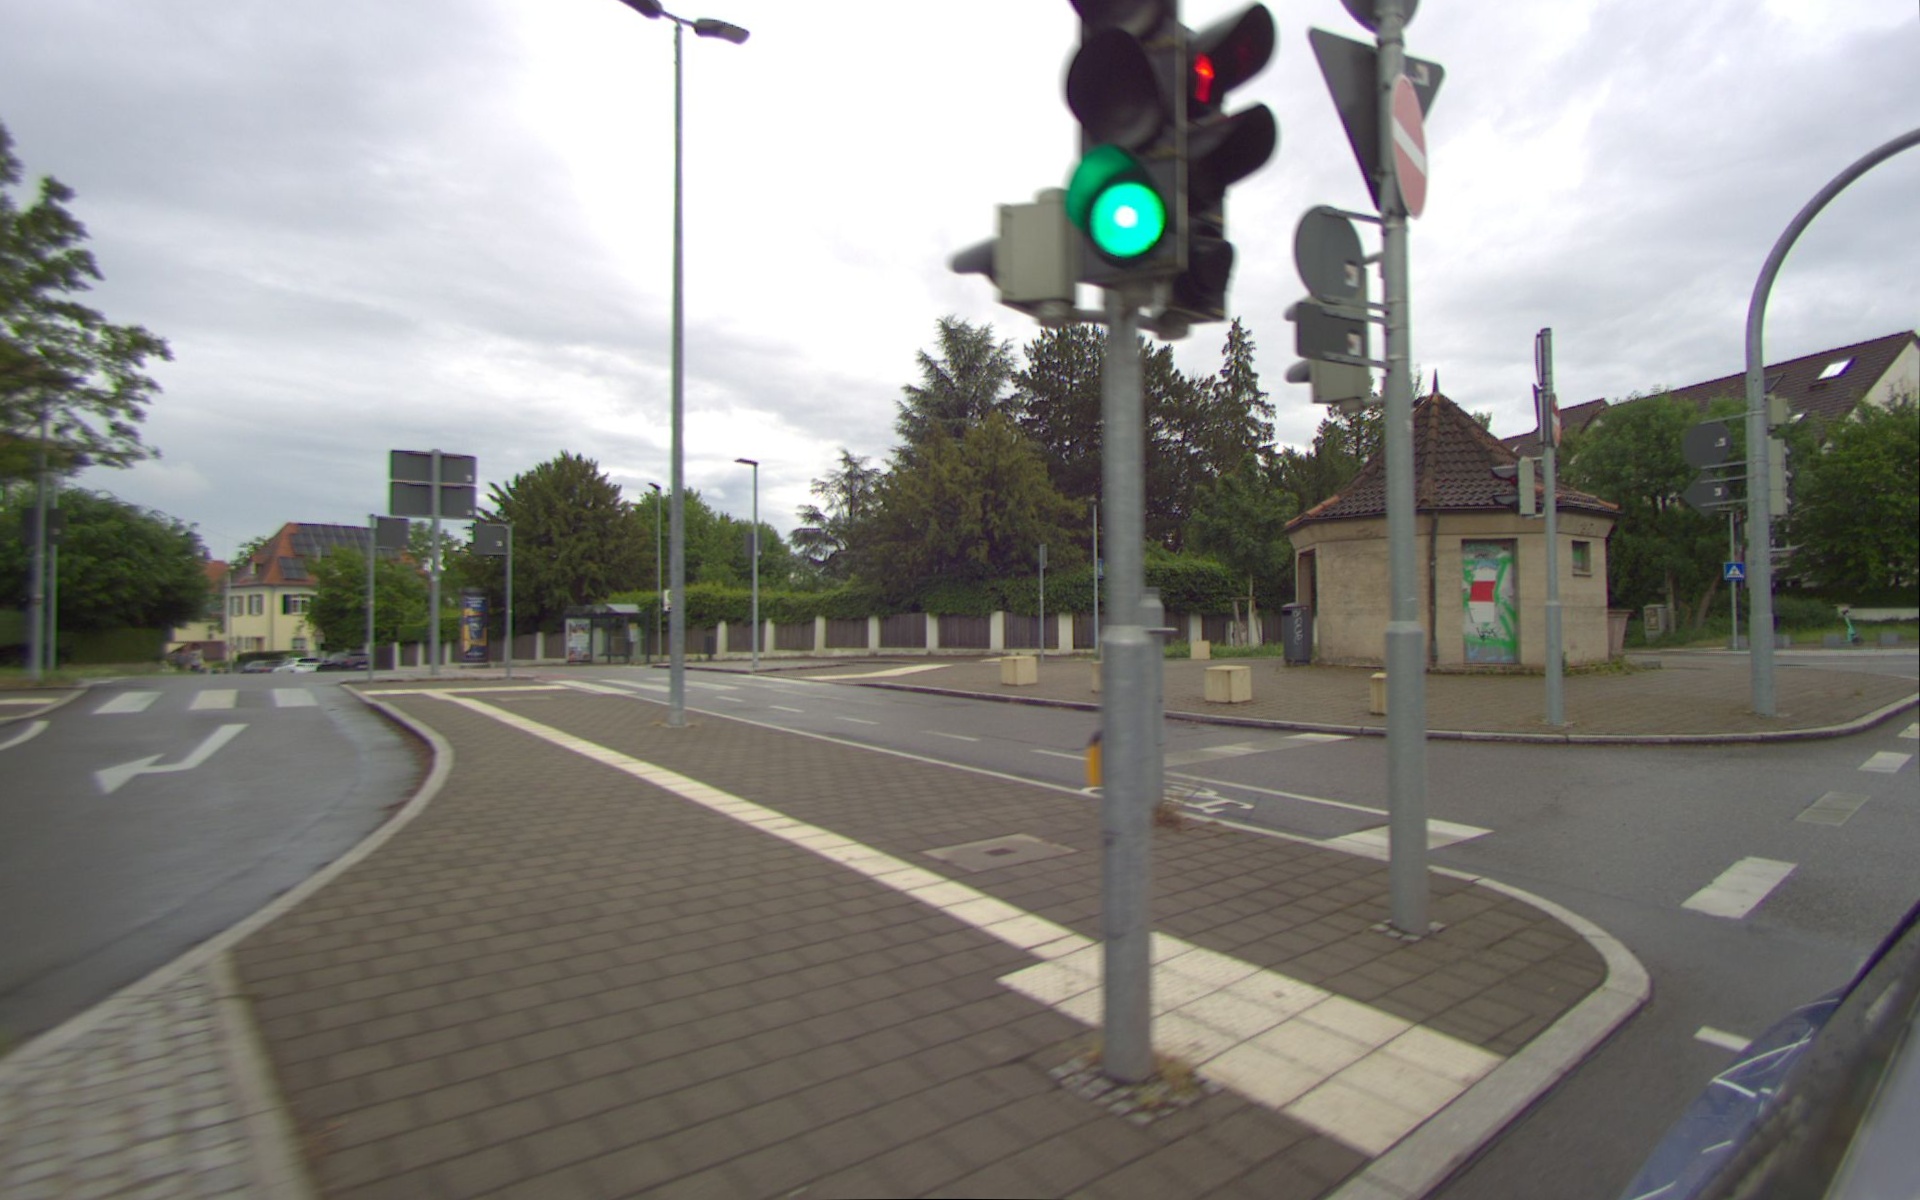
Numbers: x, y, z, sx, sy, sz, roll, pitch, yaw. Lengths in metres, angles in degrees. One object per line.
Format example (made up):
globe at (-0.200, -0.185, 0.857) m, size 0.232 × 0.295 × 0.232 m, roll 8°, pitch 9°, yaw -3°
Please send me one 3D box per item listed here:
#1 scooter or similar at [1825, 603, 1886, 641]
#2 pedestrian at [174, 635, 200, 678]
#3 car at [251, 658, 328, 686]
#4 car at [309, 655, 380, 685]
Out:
scooter or similar at (30.473, 0.756, 34.460) m, size 0.514 × 1.223 × 1.354 m, roll -1°, pitch -4°, yaw -26°
pedestrian at (-34.067, 2.497, 44.606) m, size 0.692 × 1.861 × 0.809 m, roll -5°, pitch -4°, yaw 42°
car at (-41.667, 4.463, 62.839) m, size 5.420 × 1.499 × 1.977 m, roll -4°, pitch -2°, yaw 33°
car at (-35.512, 4.040, 58.390) m, size 3.969 × 1.499 × 1.977 m, roll -4°, pitch -2°, yaw 33°
